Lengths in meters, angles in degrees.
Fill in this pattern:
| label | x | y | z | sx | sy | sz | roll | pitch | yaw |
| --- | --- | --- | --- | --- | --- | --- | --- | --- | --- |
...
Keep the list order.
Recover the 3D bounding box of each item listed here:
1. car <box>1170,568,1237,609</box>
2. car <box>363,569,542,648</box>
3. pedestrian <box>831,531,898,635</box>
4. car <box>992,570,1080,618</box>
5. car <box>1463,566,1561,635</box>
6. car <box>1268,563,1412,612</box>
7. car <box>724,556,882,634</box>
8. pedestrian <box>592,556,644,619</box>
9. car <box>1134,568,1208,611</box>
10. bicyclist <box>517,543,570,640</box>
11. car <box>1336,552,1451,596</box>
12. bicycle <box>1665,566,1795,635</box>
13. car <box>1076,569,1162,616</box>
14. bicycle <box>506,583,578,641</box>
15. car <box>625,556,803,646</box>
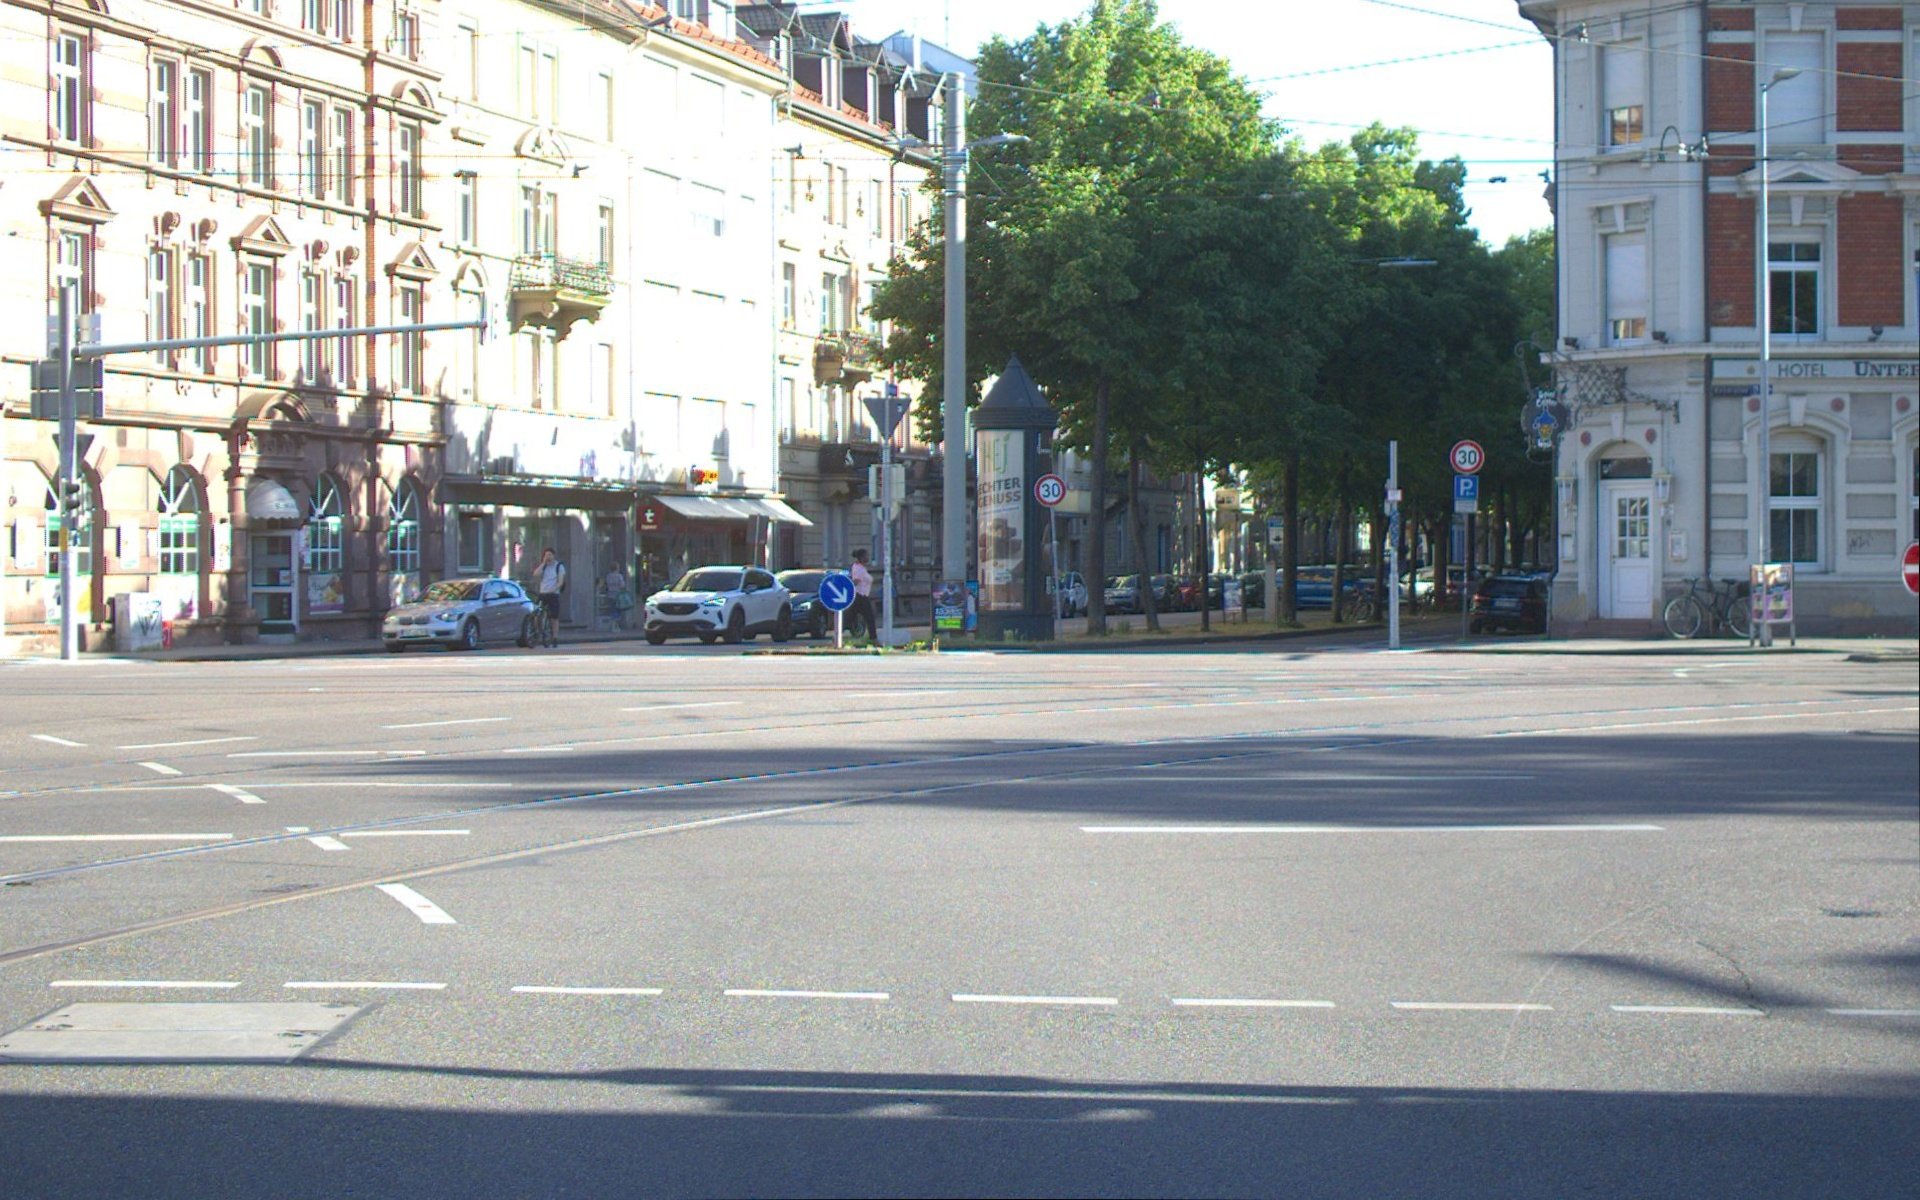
| label | x | y | z | sx | sy | sz | roll | pitch | yaw |
| --- | --- | --- | --- | --- | --- | --- | --- | --- | --- |
| car | 9.688 | -0.464 | 136.355 | 1.766 | 1.544 | 4.387 | 0 | 1 | 16 |
| car | -9.858 | 0.150 | 67.072 | 1.900 | 1.450 | 3.997 | 0 | 1 | 17 |
| pedestrian | -1.630 | -0.294 | 58.371 | 1.046 | 1.738 | 0.809 | 0 | 1 | -8 |
| car | 2.477 | -0.220 | 110.986 | 1.995 | 1.481 | 3.998 | 0 | 1 | 14 |
| car | 13.261 | -0.007 | 82.465 | 1.995 | 1.579 | 3.998 | 0 | 1 | 14 |
| car | 12.752 | -0.435 | 115.422 | 4.382 | 1.606 | 1.997 | 0 | 1 | 27 |
| car | -3.325 | -0.134 | 73.861 | 1.995 | 1.606 | 4.387 | 0 | 1 | 17 |
| pedestrian | -8.321 | -0.310 | 83.631 | 0.929 | 1.530 | 1.136 | 0 | 1 | 14 |
| car | 8.022 | -0.415 | 130.478 | 1.839 | 1.547 | 4.387 | 0 | 1 | 17 |
| bicyclist | -7.885 | -0.162 | 65.069 | 0.679 | 1.814 | 1.070 | 0 | 1 | 12 |
| car | 16.850 | -1.009 | 133.648 | 3.993 | 1.700 | 1.997 | 0 | 1 | 30 |
| bicycle | 12.851 | 0.013 | 57.414 | 2.085 | 1.120 | 0.367 | 1 | 0 | -4 |
| car | 5.696 | -0.296 | 122.688 | 1.995 | 1.607 | 4.387 | 0 | 1 | 17 |
| bicycle | -7.895 | 0.218 | 65.033 | 0.680 | 1.062 | 2.124 | 0 | 1 | 12 |
| car | -4.770 | -0.016 | 67.348 | 1.995 | 1.678 | 4.387 | 0 | 1 | 17 |
